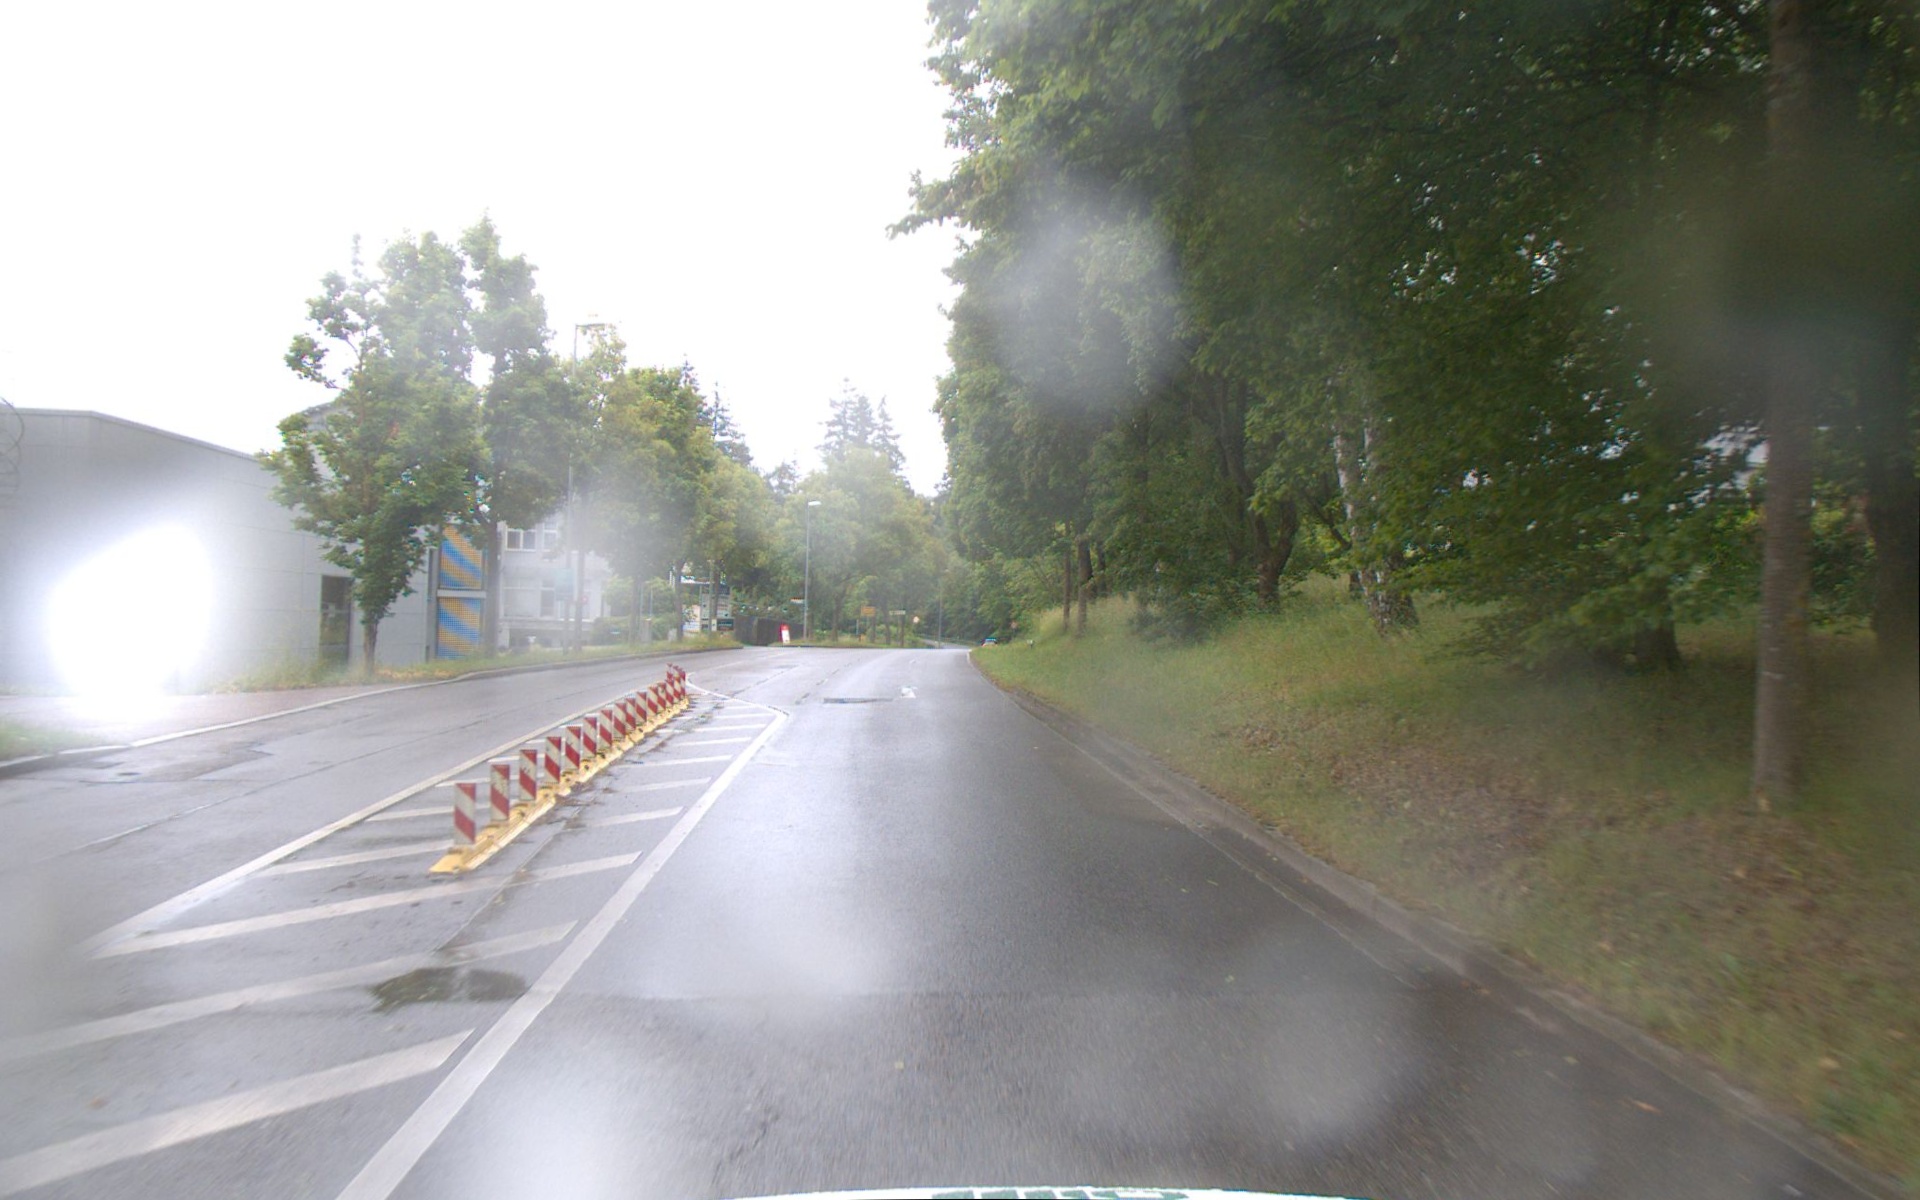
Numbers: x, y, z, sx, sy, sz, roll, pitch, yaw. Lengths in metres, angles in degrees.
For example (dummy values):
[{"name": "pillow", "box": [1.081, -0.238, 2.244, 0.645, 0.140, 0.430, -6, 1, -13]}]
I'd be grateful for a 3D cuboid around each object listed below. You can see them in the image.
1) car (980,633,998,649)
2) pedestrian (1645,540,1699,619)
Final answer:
[{"name": "car", "box": [2.787, 4.033, 161.391, 1.701, 1.537, 4.000, -1, -1, 1]}, {"name": "pedestrian", "box": [11.992, -0.348, 27.859, 0.640, 1.306, 0.625, -1, 0, 2]}]
